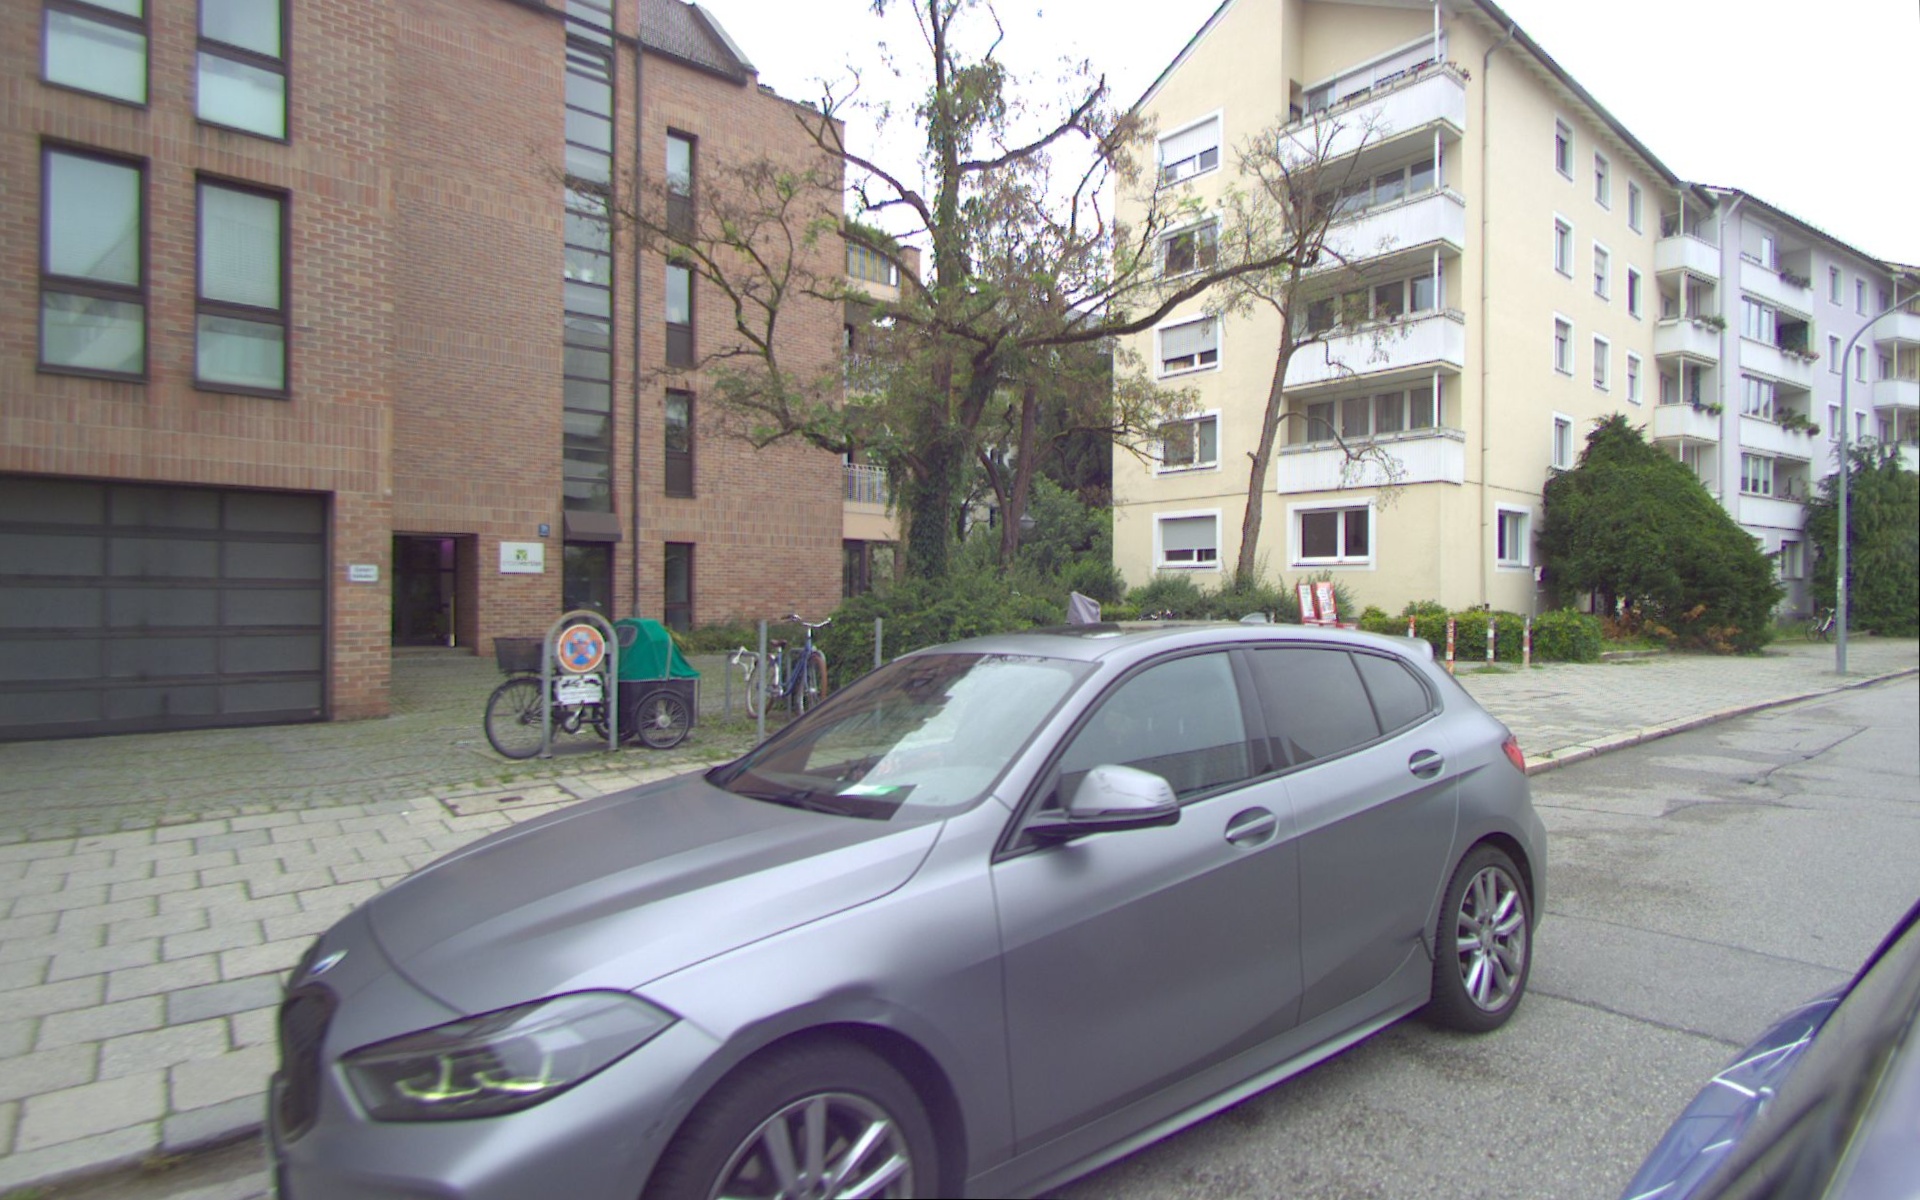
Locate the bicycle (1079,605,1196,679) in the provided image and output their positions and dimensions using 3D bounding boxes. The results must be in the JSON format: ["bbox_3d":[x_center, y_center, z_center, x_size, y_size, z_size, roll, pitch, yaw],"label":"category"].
[{"bbox_3d":[2.446,0.577,14.115,0.536,0.978,1.705,2,-2,-37],"label":"bicycle"}]

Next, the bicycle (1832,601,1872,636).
[{"bbox_3d":[29.924,0.623,33.938,1.905,1.132,0.469,1,1,-32],"label":"bicycle"}]

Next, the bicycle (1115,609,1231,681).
[{"bbox_3d":[3.042,0.635,14.582,0.536,0.978,1.705,2,-2,-37],"label":"bicycle"}]

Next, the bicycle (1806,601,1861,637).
[{"bbox_3d":[28.072,0.618,32.514,1.903,1.132,0.469,1,0,-20],"label":"bicycle"}]

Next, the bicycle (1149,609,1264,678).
[{"bbox_3d":[3.645,0.638,15.078,0.536,0.978,1.705,2,-2,-37],"label":"bicycle"}]

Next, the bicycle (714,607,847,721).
[{"bbox_3d":[-1.924,0.674,10.889,1.338,1.188,0.420,0,-2,7],"label":"bicycle"}]

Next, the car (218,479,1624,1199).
[{"bbox_3d":[0.269,0.648,3.330,4.312,1.532,1.929,0,-2,-38],"label":"car"}]

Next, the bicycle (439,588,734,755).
[{"bbox_3d":[-3.149,0.544,8.770,2.373,1.264,0.534,-1,-1,-44],"label":"bicycle"}]
